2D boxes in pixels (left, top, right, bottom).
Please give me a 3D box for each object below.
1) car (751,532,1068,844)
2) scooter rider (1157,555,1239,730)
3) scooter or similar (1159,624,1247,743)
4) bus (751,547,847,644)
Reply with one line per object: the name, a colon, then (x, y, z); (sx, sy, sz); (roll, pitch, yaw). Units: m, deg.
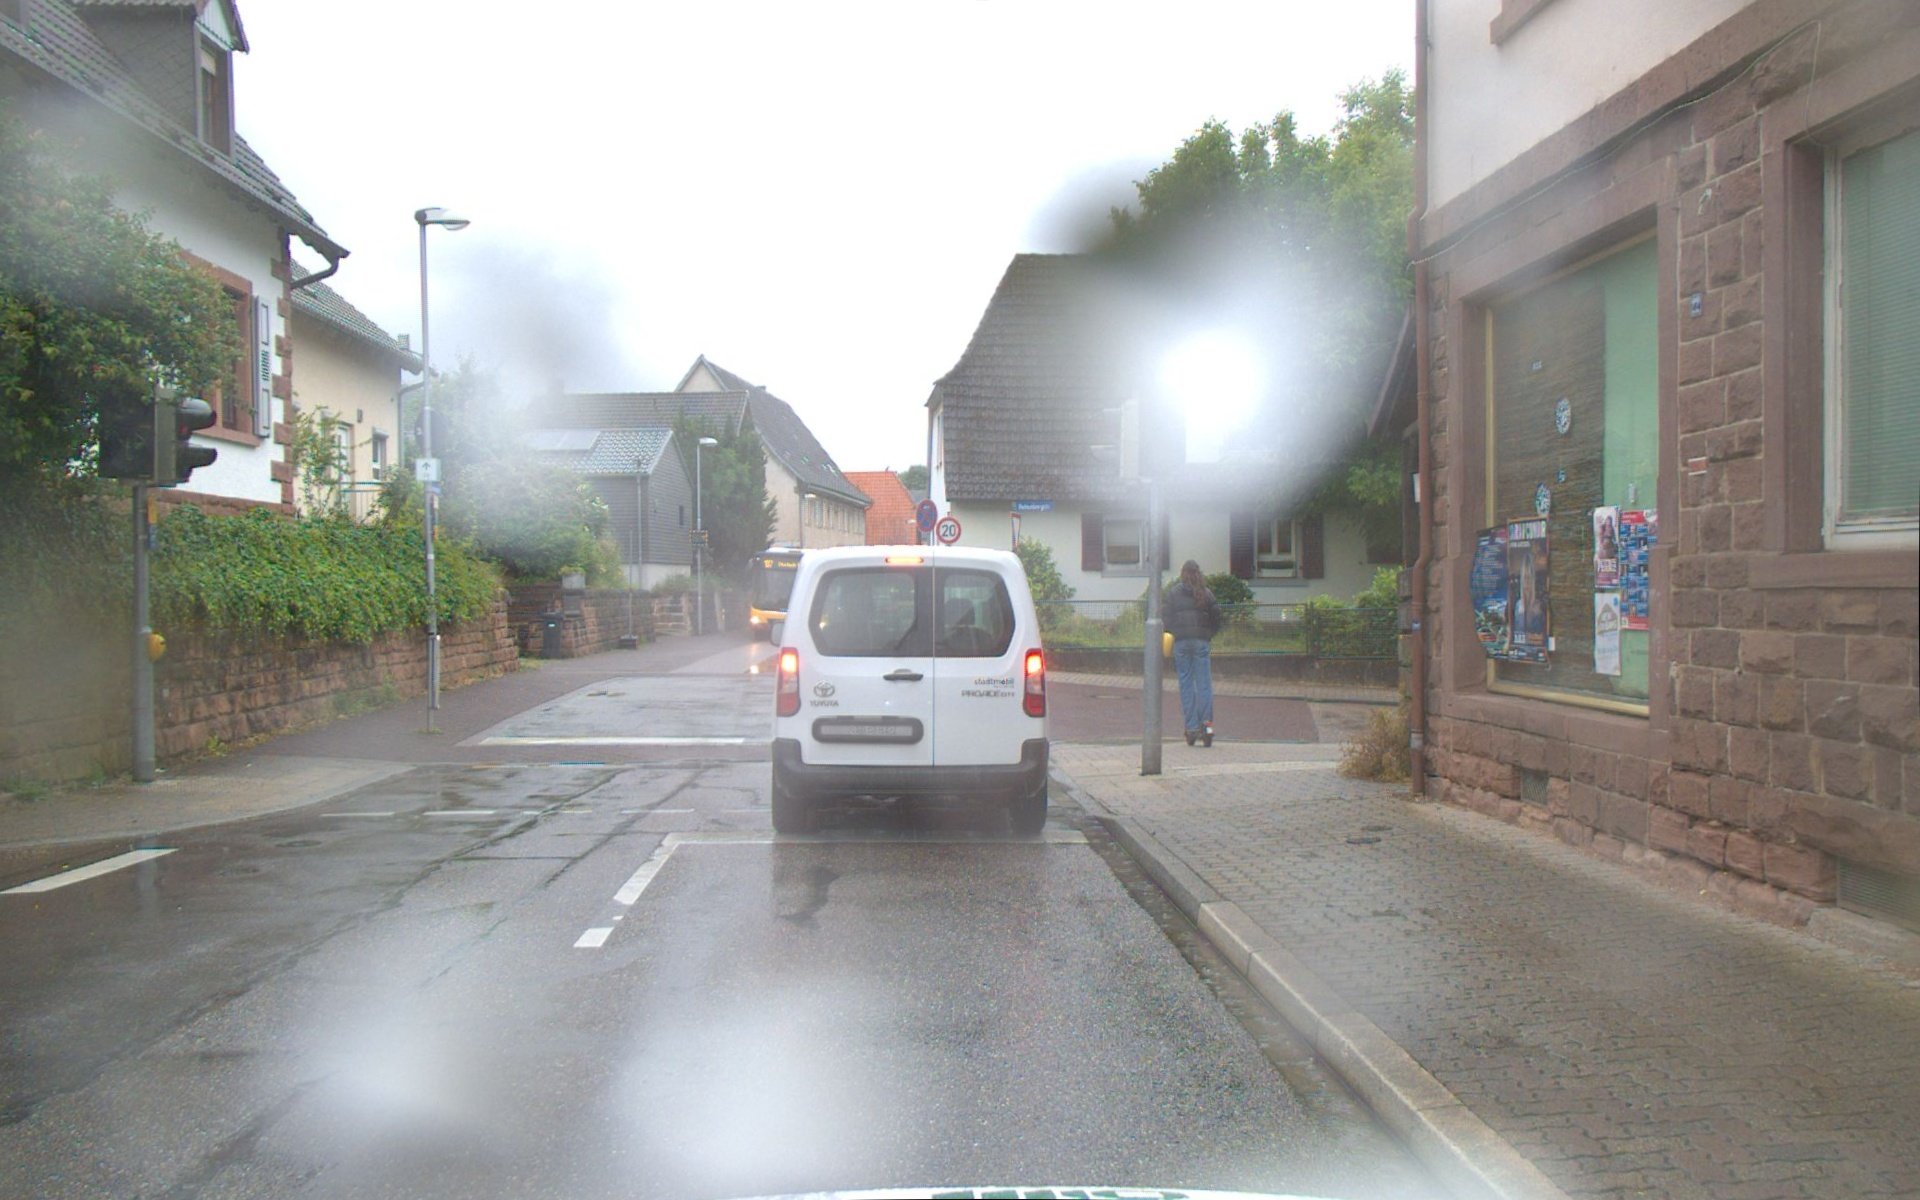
car: (-0.396, 0.512, 11.697); (1.856, 1.825, 3.811); (1, 0, -3)
scooter rider: (2.437, 0.442, 16.972); (0.716, 1.764, 0.517); (0, -3, -4)
scooter or similar: (2.453, 0.851, 16.810); (0.608, 1.147, 1.400); (0, -3, -3)
bus: (-5.495, -0.333, 58.267); (2.596, 3.051, 12.190); (0, 2, -2)
